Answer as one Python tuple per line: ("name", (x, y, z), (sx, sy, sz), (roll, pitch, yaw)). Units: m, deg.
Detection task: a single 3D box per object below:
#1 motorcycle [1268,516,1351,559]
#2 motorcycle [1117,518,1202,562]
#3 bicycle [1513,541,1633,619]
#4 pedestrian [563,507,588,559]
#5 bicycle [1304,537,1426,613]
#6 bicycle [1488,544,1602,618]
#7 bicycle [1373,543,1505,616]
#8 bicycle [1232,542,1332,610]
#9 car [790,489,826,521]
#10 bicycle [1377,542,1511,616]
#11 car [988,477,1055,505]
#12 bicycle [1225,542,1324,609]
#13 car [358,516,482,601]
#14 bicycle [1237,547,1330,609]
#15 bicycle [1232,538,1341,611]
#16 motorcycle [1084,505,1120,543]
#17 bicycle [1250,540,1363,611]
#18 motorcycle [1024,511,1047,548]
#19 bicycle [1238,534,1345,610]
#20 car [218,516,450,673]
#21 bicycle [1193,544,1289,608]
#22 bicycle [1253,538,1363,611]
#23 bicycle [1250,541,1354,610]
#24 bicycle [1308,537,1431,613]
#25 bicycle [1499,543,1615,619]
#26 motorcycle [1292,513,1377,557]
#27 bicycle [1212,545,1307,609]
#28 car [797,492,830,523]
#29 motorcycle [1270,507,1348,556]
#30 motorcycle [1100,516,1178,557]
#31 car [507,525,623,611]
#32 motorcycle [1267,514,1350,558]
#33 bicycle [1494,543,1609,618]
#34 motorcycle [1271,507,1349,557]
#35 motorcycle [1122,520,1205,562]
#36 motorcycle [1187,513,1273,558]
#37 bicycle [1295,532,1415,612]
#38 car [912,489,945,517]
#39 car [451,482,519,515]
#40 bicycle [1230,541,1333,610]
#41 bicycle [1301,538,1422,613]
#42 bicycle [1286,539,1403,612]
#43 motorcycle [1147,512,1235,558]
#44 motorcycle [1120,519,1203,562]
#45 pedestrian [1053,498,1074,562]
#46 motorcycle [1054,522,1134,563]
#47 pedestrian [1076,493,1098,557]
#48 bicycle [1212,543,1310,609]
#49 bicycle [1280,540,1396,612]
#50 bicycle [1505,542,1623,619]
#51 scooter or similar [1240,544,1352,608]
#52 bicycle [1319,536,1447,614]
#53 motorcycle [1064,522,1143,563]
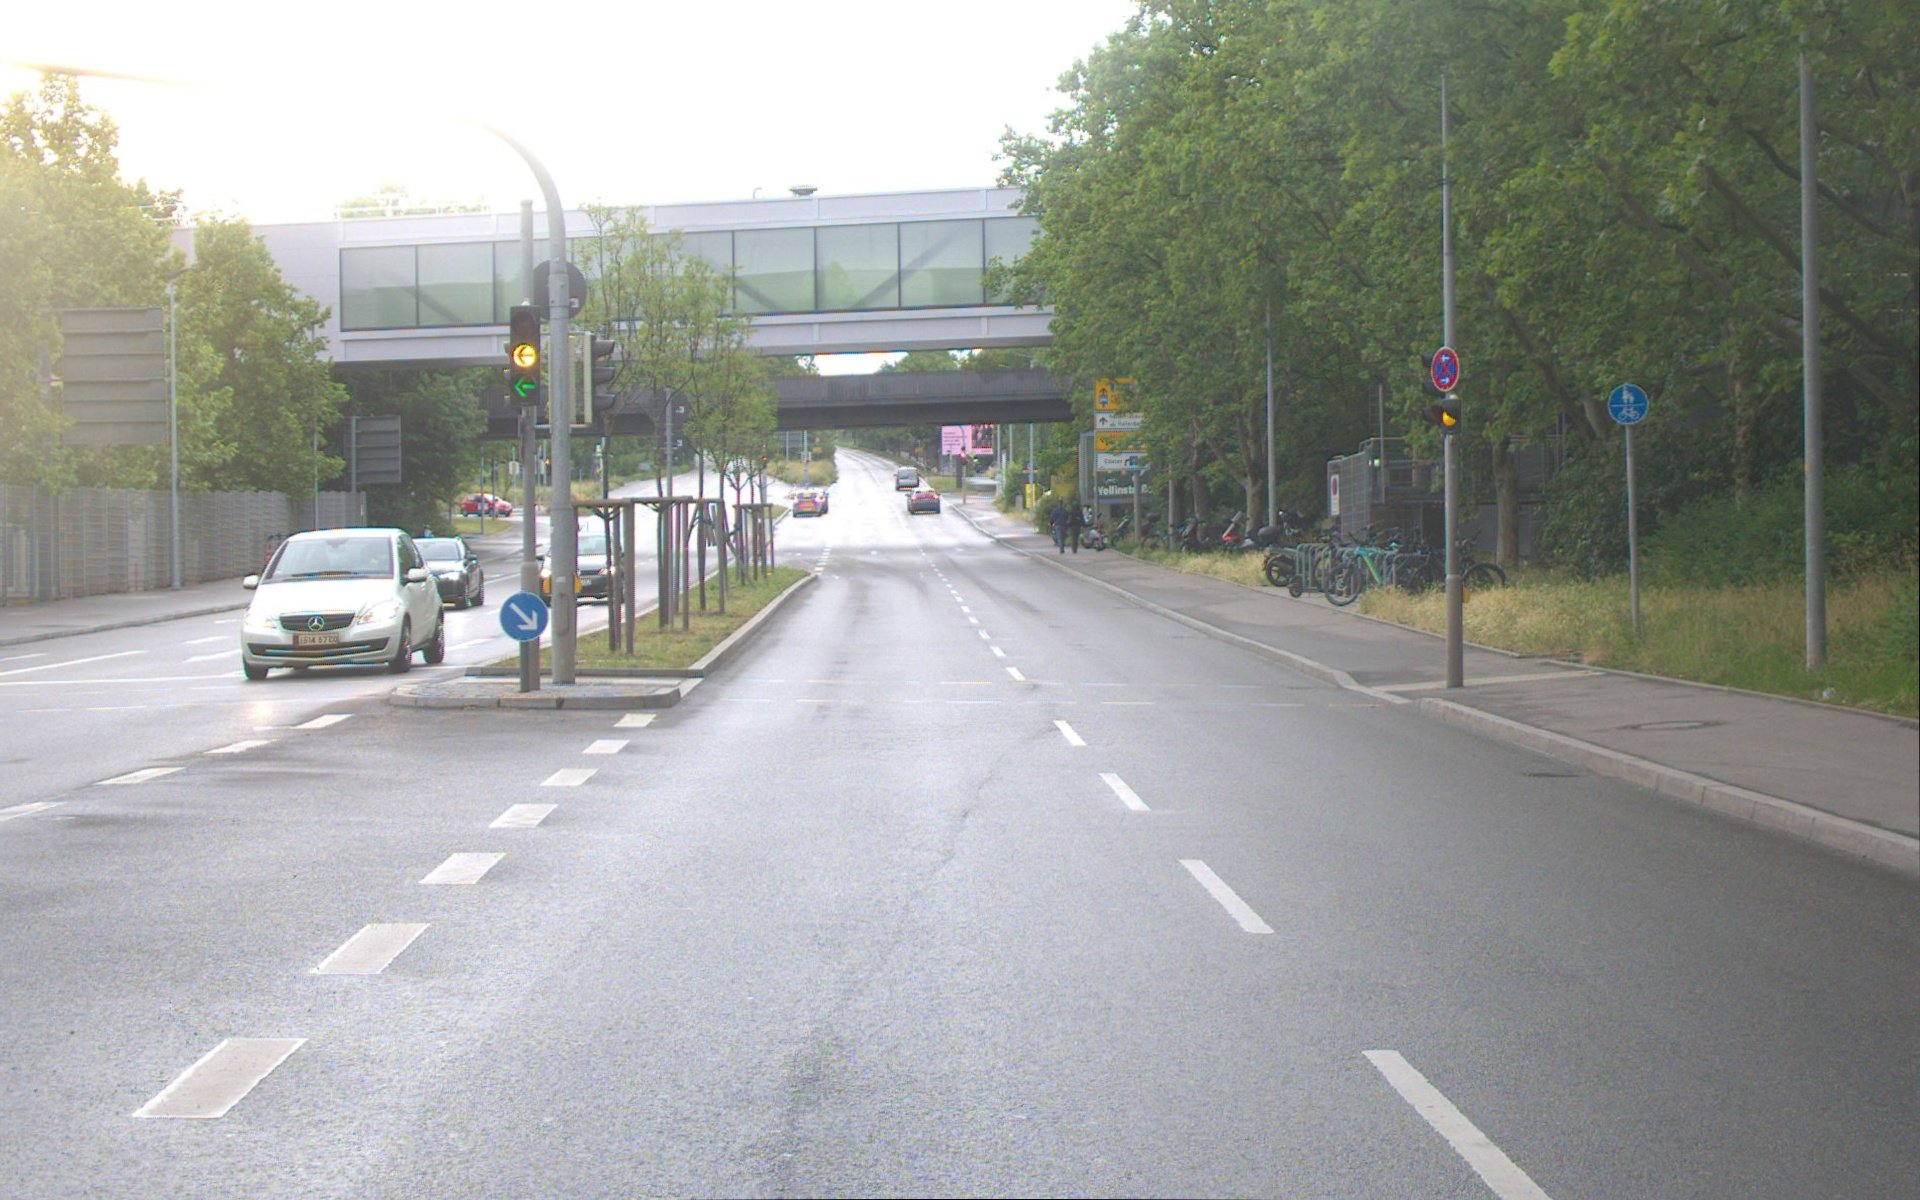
("motorcycle", (10.274, -1.839, 100.966), (2.369, 1.198, 0.722), (-1, 1, 7))
("motorcycle", (5.795, -1.748, 99.761), (2.369, 1.198, 0.722), (-1, 1, 7))
("bicycle", (10.902, -0.348, 61.178), (1.990, 1.324, 0.576), (2, 0, 0))
("pedestrian", (-15.045, -2.619, 134.527), (0.872, 1.997, 0.855), (-2, 1, -4))
("bicycle", (6.922, -0.425, 58.733), (1.990, 1.237, 0.541), (2, 0, 0))
("bicycle", (10.877, -0.353, 63.924), (1.990, 1.324, 0.576), (2, 0, 0))
("bicycle", (7.573, -0.327, 54.425), (1.990, 1.091, 0.541), (2, 0, 0))
("bicycle", (6.589, -0.494, 70.360), (1.960, 1.324, 0.576), (2, 0, 0))
("car", (-9.128, -5.685, 206.694), (1.993, 1.756, 4.000), (2, 0, 0))
("bicycle", (7.579, -0.326, 53.857), (1.990, 1.091, 0.541), (2, 0, 0))
("car", (4.202, -7.516, 236.653), (4.510, 1.756, 1.905), (2, 0, -1))
("bicycle", (6.494, -0.498, 71.050), (1.963, 1.324, 0.654), (2, 0, 0))
("car", (-10.748, -0.843, 68.597), (1.877, 1.619, 3.779), (-1, 1, 0))
("bicycle", (7.141, -0.486, 75.874), (1.963, 1.324, 0.654), (2, 0, 0))
("bicycle", (6.256, -0.485, 65.880), (1.990, 1.324, 0.576), (2, 0, 0))
("motorcycle", (5.012, -2.674, 121.830), (0.790, 1.307, 2.377), (-2, 1, -9))
("bicycle", (6.371, -0.447, 63.166), (1.990, 1.237, 0.541), (2, 0, 0))
("motorcycle", (3.178, -2.974, 144.440), (0.790, 1.528, 2.377), (-2, 1, -2))
("bicycle", (6.508, -0.543, 67.557), (1.990, 1.425, 0.723), (2, 0, 0))
("car", (-6.884, -0.098, 38.170), (1.877, 1.619, 3.779), (-1, 1, 0))
("bicycle", (6.014, -0.515, 73.566), (1.963, 1.324, 0.654), (2, 0, 0))
("bicycle", (6.589, -0.475, 65.071), (1.990, 1.324, 0.576), (2, 0, 0))
("bicycle", (6.799, -0.486, 68.412), (1.990, 1.324, 0.576), (2, 0, 0))
("bicycle", (6.914, -0.420, 58.073), (1.990, 1.229, 0.541), (2, 0, 0))
("bicycle", (10.868, -0.351, 62.607), (1.990, 1.324, 0.576), (2, 0, 0))
("motorcycle", (10.788, -1.880, 99.012), (2.369, 1.198, 0.722), (-1, 1, 7))
("bicycle", (6.480, -0.503, 74.370), (1.963, 1.324, 0.654), (2, 0, 0))
("car", (-8.994, -5.658, 211.479), (1.884, 1.756, 3.969), (2, 0, 0))
("motorcycle", (10.995, -2.167, 108.266), (2.369, 1.471, 0.722), (-1, 1, 7))
("motorcycle", (5.625, -1.999, 108.176), (2.369, 1.198, 0.792), (-1, 1, 7))
("car", (-7.821, -0.656, 68.331), (1.877, 1.619, 3.779), (-1, 1, 0))
("motorcycle", (10.163, -1.862, 100.163), (2.369, 1.198, 0.722), (-1, 1, 7))
("bicycle", (10.874, -0.352, 63.255), (1.990, 1.324, 0.576), (2, 0, 0))
("motorcycle", (10.903, -2.124, 107.032), (2.369, 1.471, 0.722), (-1, 1, 7))
("motorcycle", (6.013, -1.742, 101.533), (2.369, 1.198, 0.722), (-1, 1, 7))
("motorcycle", (7.600, -1.804, 96.793), (2.369, 1.198, 0.722), (-1, 1, 7))
("bicycle", (6.905, -0.494, 60.151), (1.990, 1.336, 0.541), (2, 0, 0))
("car", (-1.866, -5.723, 202.985), (1.875, 1.492, 4.068), (2, 0, 0))
("car", (-30.864, -6.610, 223.381), (3.994, 2.007, 1.996), (2, 0, 33))
("bicycle", (6.462, -0.484, 69.123), (1.990, 1.324, 0.576), (2, 0, 0))
("bicycle", (6.923, -0.426, 59.302), (1.990, 1.237, 0.541), (2, 0, 0))
("bicycle", (6.800, -0.432, 60.843), (1.990, 1.237, 0.541), (2, 0, 0))
("motorcycle", (6.407, -1.797, 95.317), (2.369, 1.198, 0.722), (-1, 1, 7))
("motorcycle", (5.900, -1.738, 100.619), (2.369, 1.198, 0.722), (-1, 1, 7))
("pedestrian", (3.321, -2.246, 110.348), (0.622, 2.007, 0.605), (-2, 1, 0))
("motorcycle", (4.109, -1.758, 105.125), (2.369, 1.198, 0.722), (-1, 1, 7))
("pedestrian", (4.055, -2.398, 110.051), (0.622, 2.007, 0.605), (-2, 1, 0))
("bicycle", (6.356, -0.504, 72.652), (1.963, 1.324, 0.654), (2, 0, 0))
("bicycle", (6.785, -0.433, 61.792), (1.990, 1.237, 0.541), (2, 0, 0))
("bicycle", (10.875, -0.350, 61.942), (1.990, 1.324, 0.576), (2, 0, 0))
("scooter or similar", (6.240, -0.442, 63.903), (1.990, 1.134, 0.541), (2, 0, 0))
("bicycle", (6.874, -0.410, 55.884), (1.990, 1.212, 0.541), (2, 0, 0))
("motorcycle", (4.452, -1.776, 106.569), (2.369, 1.198, 0.722), (-1, 1, 7))
